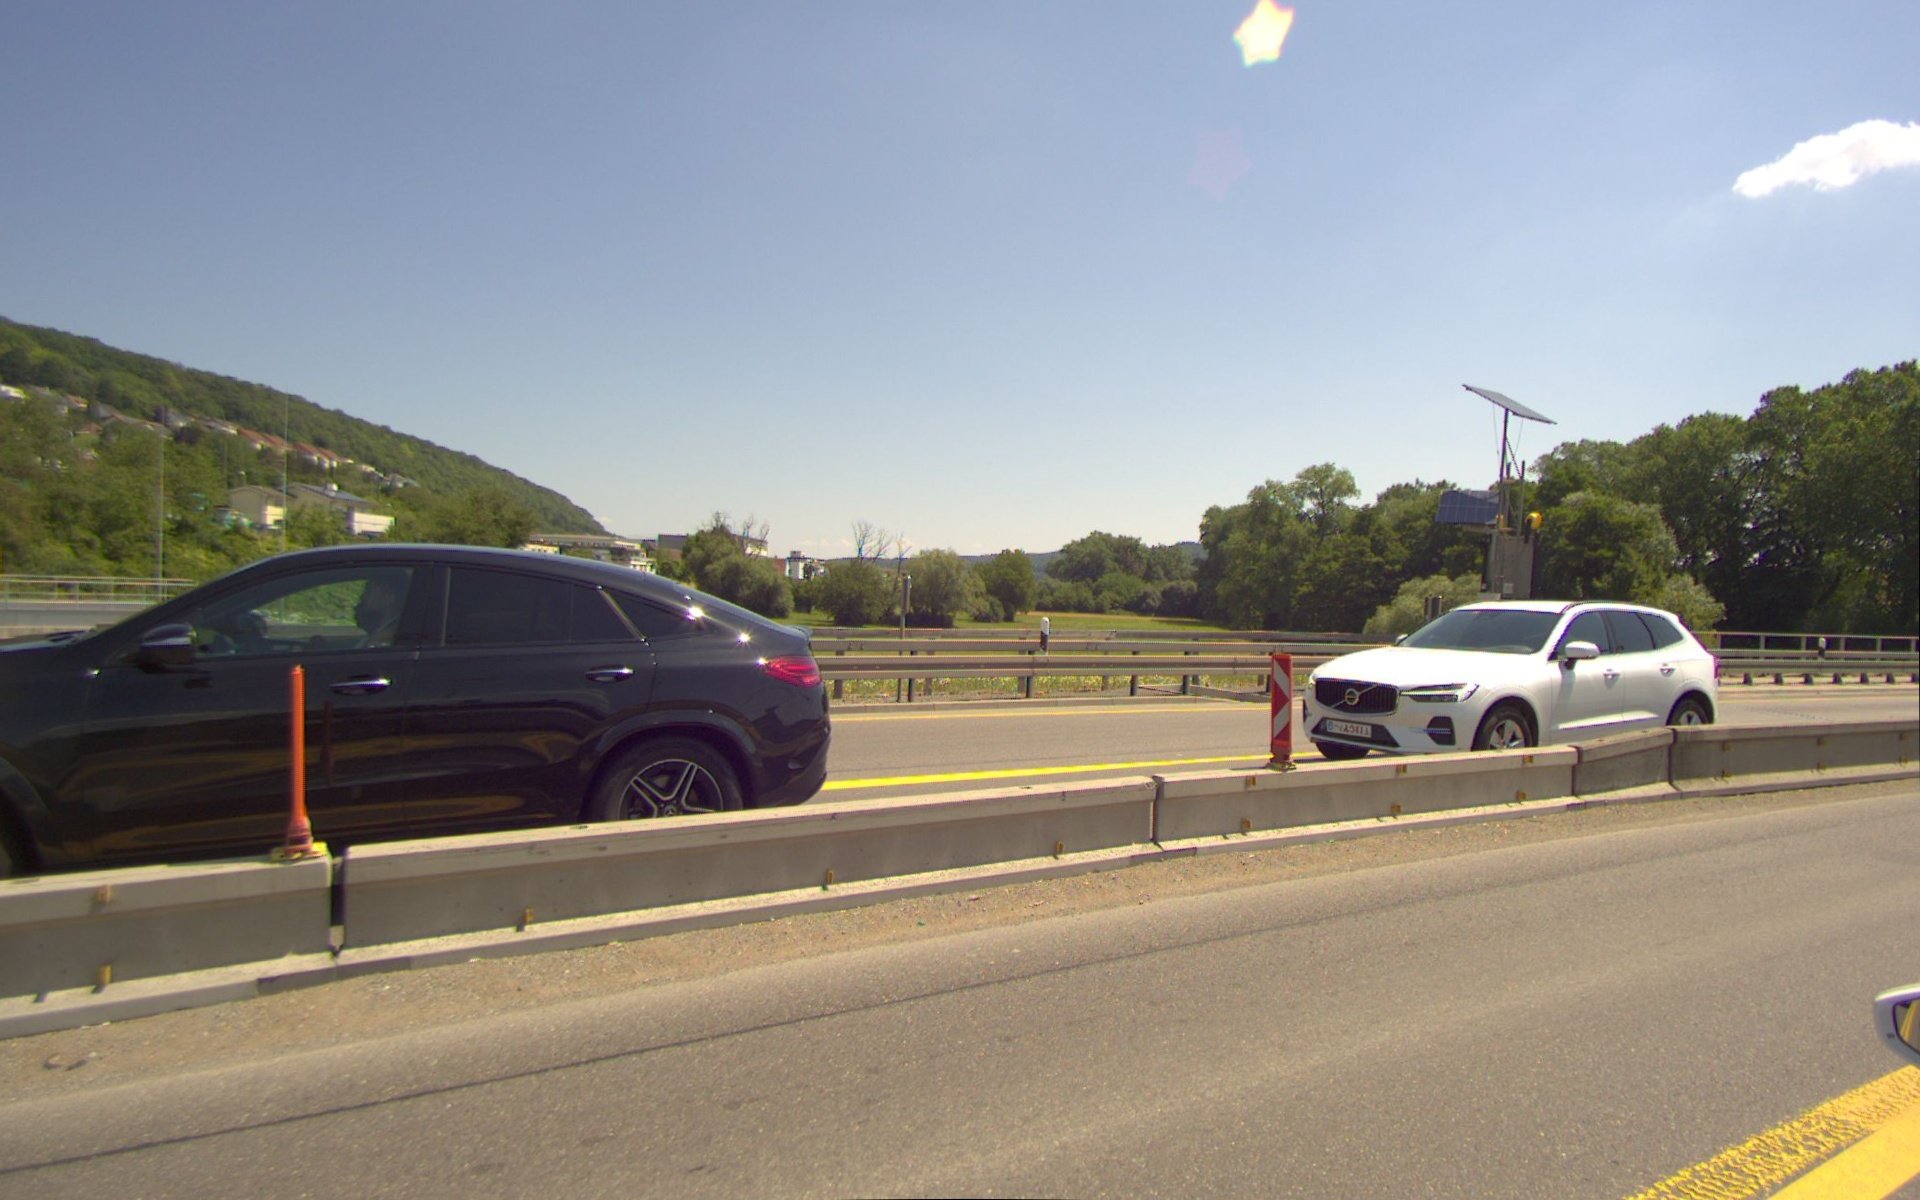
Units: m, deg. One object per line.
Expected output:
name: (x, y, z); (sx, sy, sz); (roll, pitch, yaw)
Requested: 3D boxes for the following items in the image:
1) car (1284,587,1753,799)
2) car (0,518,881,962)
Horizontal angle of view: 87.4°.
car: (5.519, 0.718, 9.842); (4.511, 1.669, 1.813); (0, 2, -27)
car: (-2.929, 0.527, 5.239); (4.659, 1.669, 1.872); (1, 1, -30)
